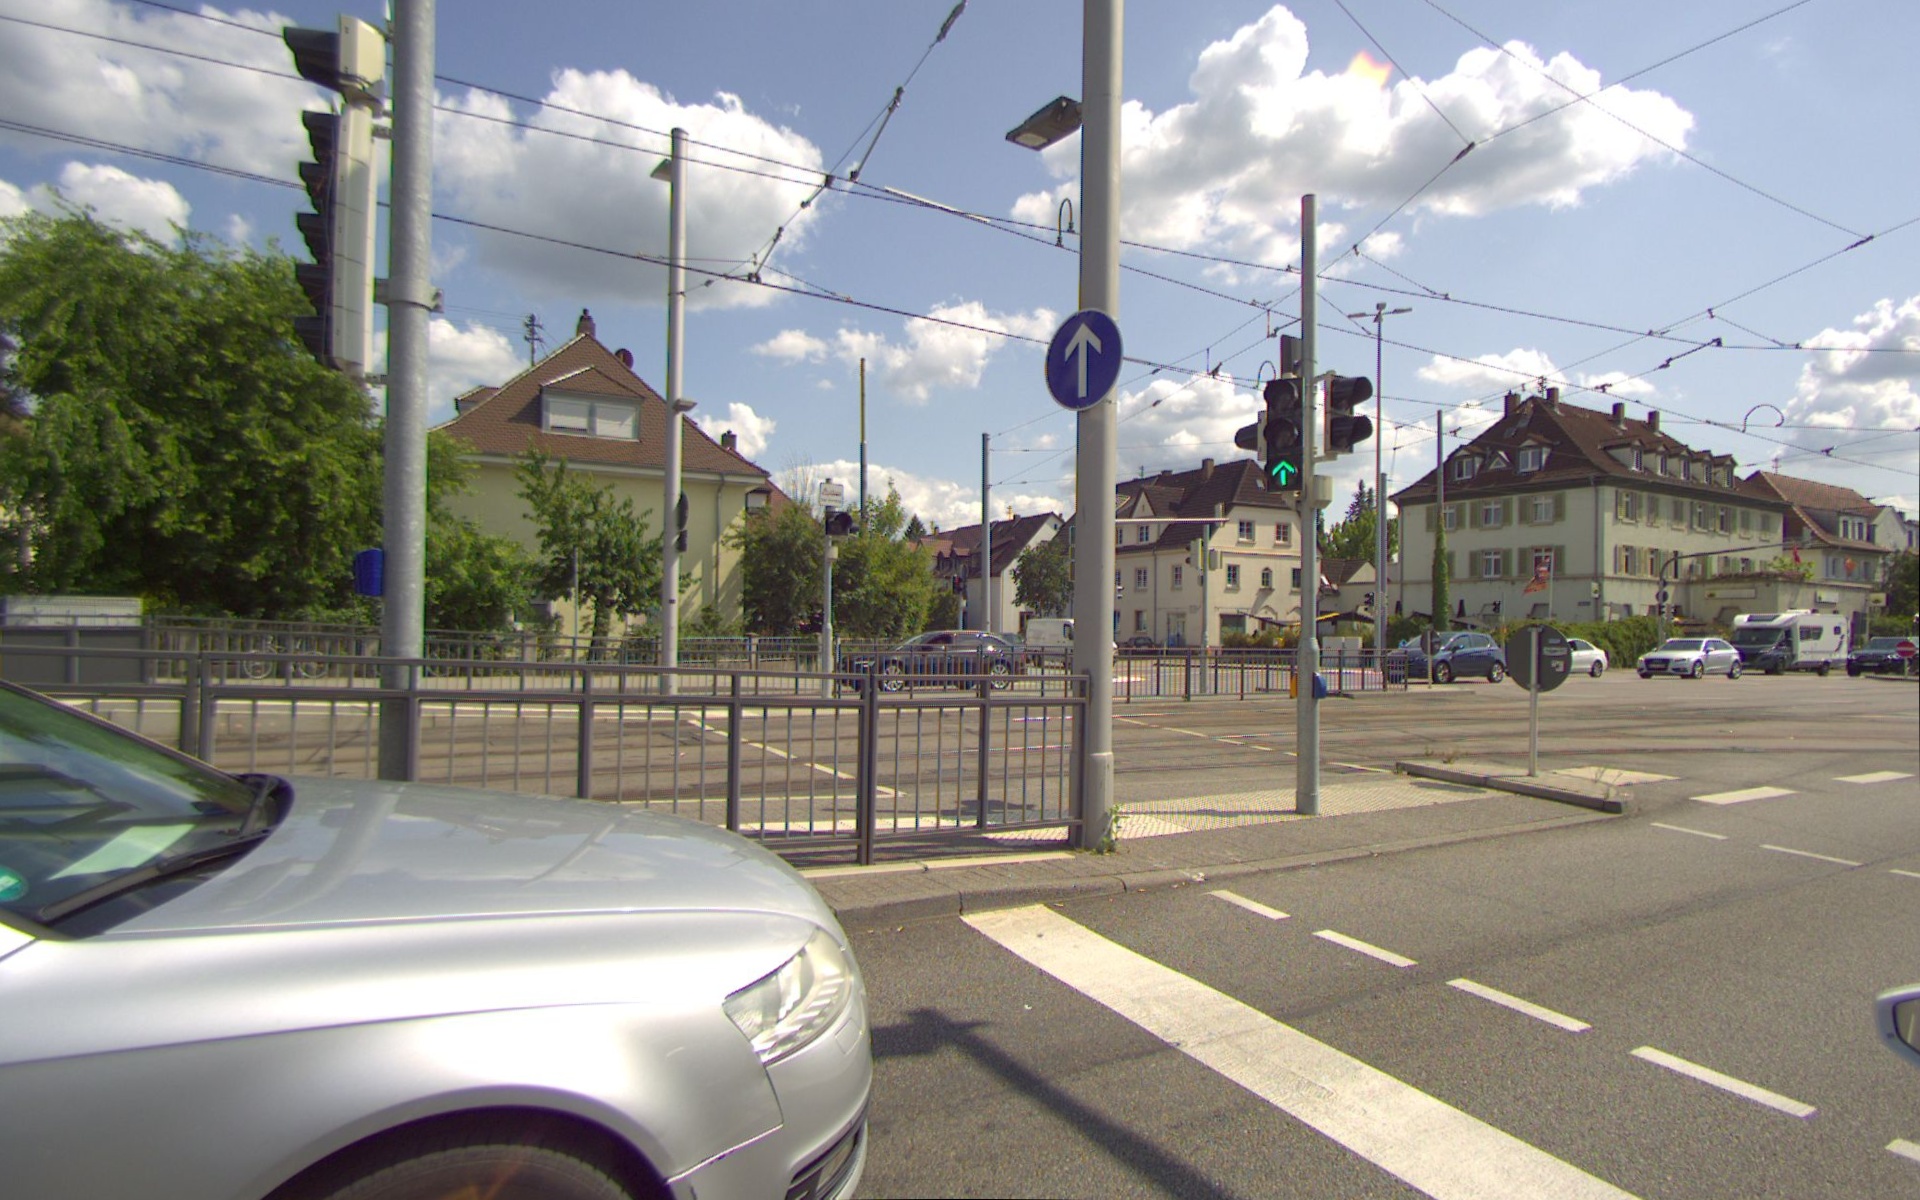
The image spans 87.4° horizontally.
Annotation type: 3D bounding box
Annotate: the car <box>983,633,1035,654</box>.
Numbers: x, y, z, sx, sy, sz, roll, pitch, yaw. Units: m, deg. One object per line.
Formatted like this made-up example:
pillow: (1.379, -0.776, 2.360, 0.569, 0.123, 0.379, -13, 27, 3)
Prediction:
car: (4.147, 3.705, 85.345, 3.945, 1.617, 1.829, 3, 0, -24)

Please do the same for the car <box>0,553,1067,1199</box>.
car: (-2.258, 0.662, 1.599, 4.665, 1.491, 1.786, 1, 1, -30)

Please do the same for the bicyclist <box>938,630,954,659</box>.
bicyclist: (-0.735, 2.398, 53.971, 0.595, 1.528, 0.641, 2, 0, -28)

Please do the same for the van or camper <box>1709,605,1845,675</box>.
van or camper: (37.439, 1.840, 45.930, 7.663, 2.968, 2.313, 2, -1, -30)

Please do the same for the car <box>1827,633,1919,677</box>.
car: (39.257, 2.319, 42.714, 4.817, 1.799, 1.986, 2, -3, -28)

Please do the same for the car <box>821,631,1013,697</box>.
car: (-0.989, 1.518, 24.017, 4.296, 1.369, 1.675, 3, 0, -32)

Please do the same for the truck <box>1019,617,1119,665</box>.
truck: (5.146, 1.930, 48.633, 1.668, 1.947, 6.161, 2, 0, -27)

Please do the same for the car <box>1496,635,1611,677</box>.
car: (22.051, 2.085, 37.292, 4.291, 1.369, 1.677, 3, 0, -28)

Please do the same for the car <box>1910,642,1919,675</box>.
car: (47.902, 2.814, 48.404, 4.129, 1.572, 1.985, 3, -5, -30)

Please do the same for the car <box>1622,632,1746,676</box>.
car: (25.268, 1.880, 35.035, 4.129, 1.369, 1.984, 3, 0, -30)

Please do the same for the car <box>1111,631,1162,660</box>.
car: (11.753, 3.039, 67.294, 1.900, 1.690, 4.279, 2, 0, -11)

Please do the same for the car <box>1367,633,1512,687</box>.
car: (13.714, 1.714, 28.665, 4.129, 1.369, 1.676, 3, 0, -30)

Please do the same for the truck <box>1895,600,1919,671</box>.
truck: (55.656, 1.987, 56.560, 5.596, 3.871, 2.590, 1, -3, -28)
